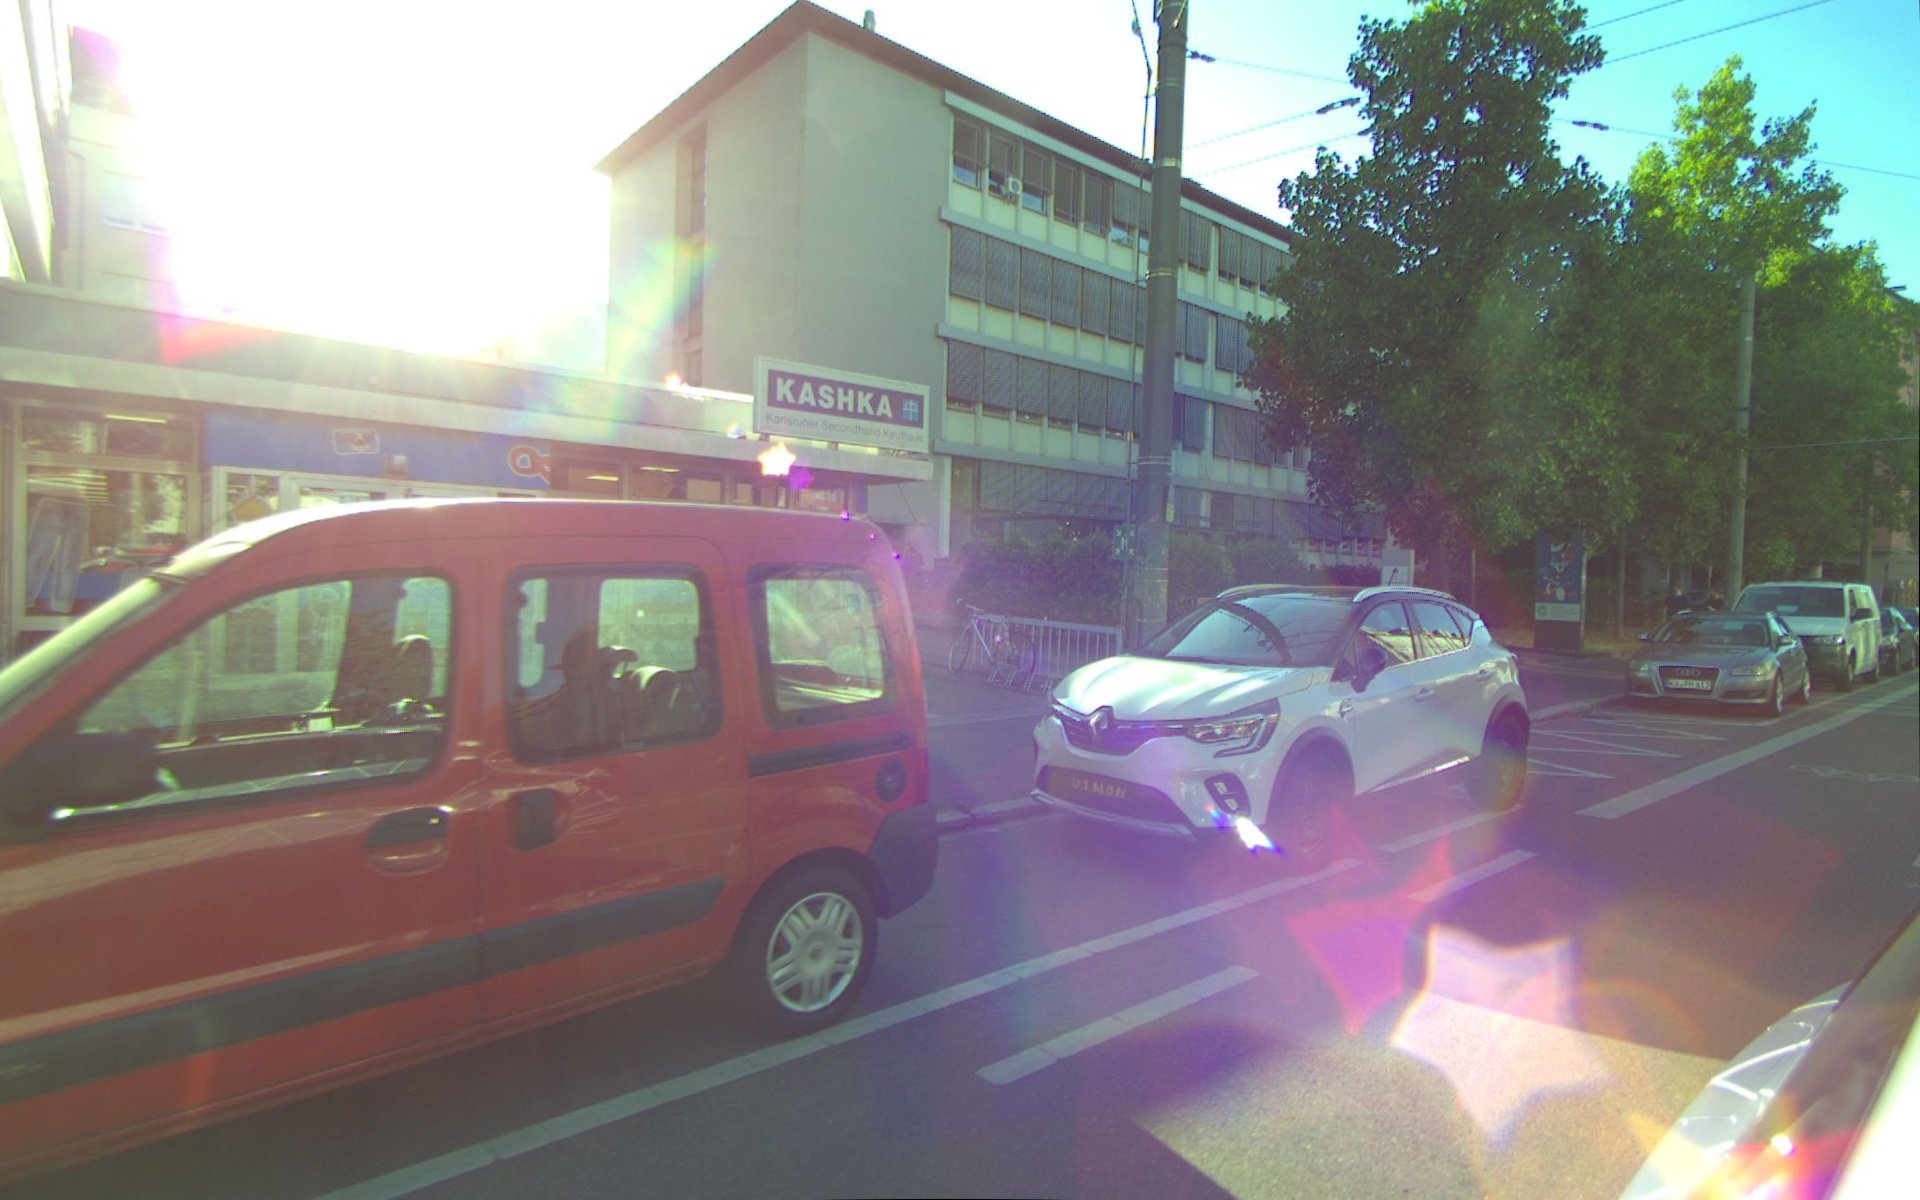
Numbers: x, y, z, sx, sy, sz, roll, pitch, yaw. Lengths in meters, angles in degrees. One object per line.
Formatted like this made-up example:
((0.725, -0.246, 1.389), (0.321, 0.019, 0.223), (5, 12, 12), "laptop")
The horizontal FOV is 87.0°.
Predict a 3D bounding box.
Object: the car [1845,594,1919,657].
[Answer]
((24.397, 0.636, 26.194), (3.831, 1.513, 1.597), (0, 0, -39), "car")

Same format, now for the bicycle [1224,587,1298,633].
((6.852, 0.217, 23.053), (1.600, 0.971, 0.366), (2, 1, 21), "bicycle")

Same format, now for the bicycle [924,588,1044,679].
((0.289, 0.422, 13.756), (0.461, 1.109, 1.884), (0, 2, -42), "bicycle")

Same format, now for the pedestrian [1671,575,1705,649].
((17.678, 0.281, 24.575), (0.429, 1.734, 0.494), (0, 3, -41), "pedestrian")

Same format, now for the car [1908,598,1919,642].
((33.635, 0.688, 34.302), (4.139, 1.446, 1.782), (0, 0, -41), "car")

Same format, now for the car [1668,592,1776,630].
((40.825, 0.559, 54.295), (1.563, 1.692, 4.361), (0, 4, -44), "car")

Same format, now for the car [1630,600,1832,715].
((11.501, 0.734, 14.995), (4.096, 1.422, 1.676), (-1, 0, -42), "car")

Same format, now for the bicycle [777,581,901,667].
((-1.798, 0.321, 14.826), (2.014, 1.109, 0.627), (4, 2, 43), "bicycle")

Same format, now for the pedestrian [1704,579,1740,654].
((18.101, 0.394, 24.040), (0.429, 1.734, 0.494), (0, 3, -41), "pedestrian")

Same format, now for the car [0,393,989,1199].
((-2.002, 0.492, 3.079), (4.175, 1.831, 1.678), (0, 0, -42), "car")

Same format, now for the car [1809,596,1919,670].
((20.837, 0.689, 23.031), (3.842, 1.511, 1.686), (-1, 0, -40), "car")

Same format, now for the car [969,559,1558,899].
((2.256, 0.602, 6.872), (4.249, 1.616, 1.791), (0, 1, -40), "car")

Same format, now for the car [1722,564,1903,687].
((16.198, 0.413, 19.129), (4.819, 2.047, 1.880), (0, 0, -41), "car")
